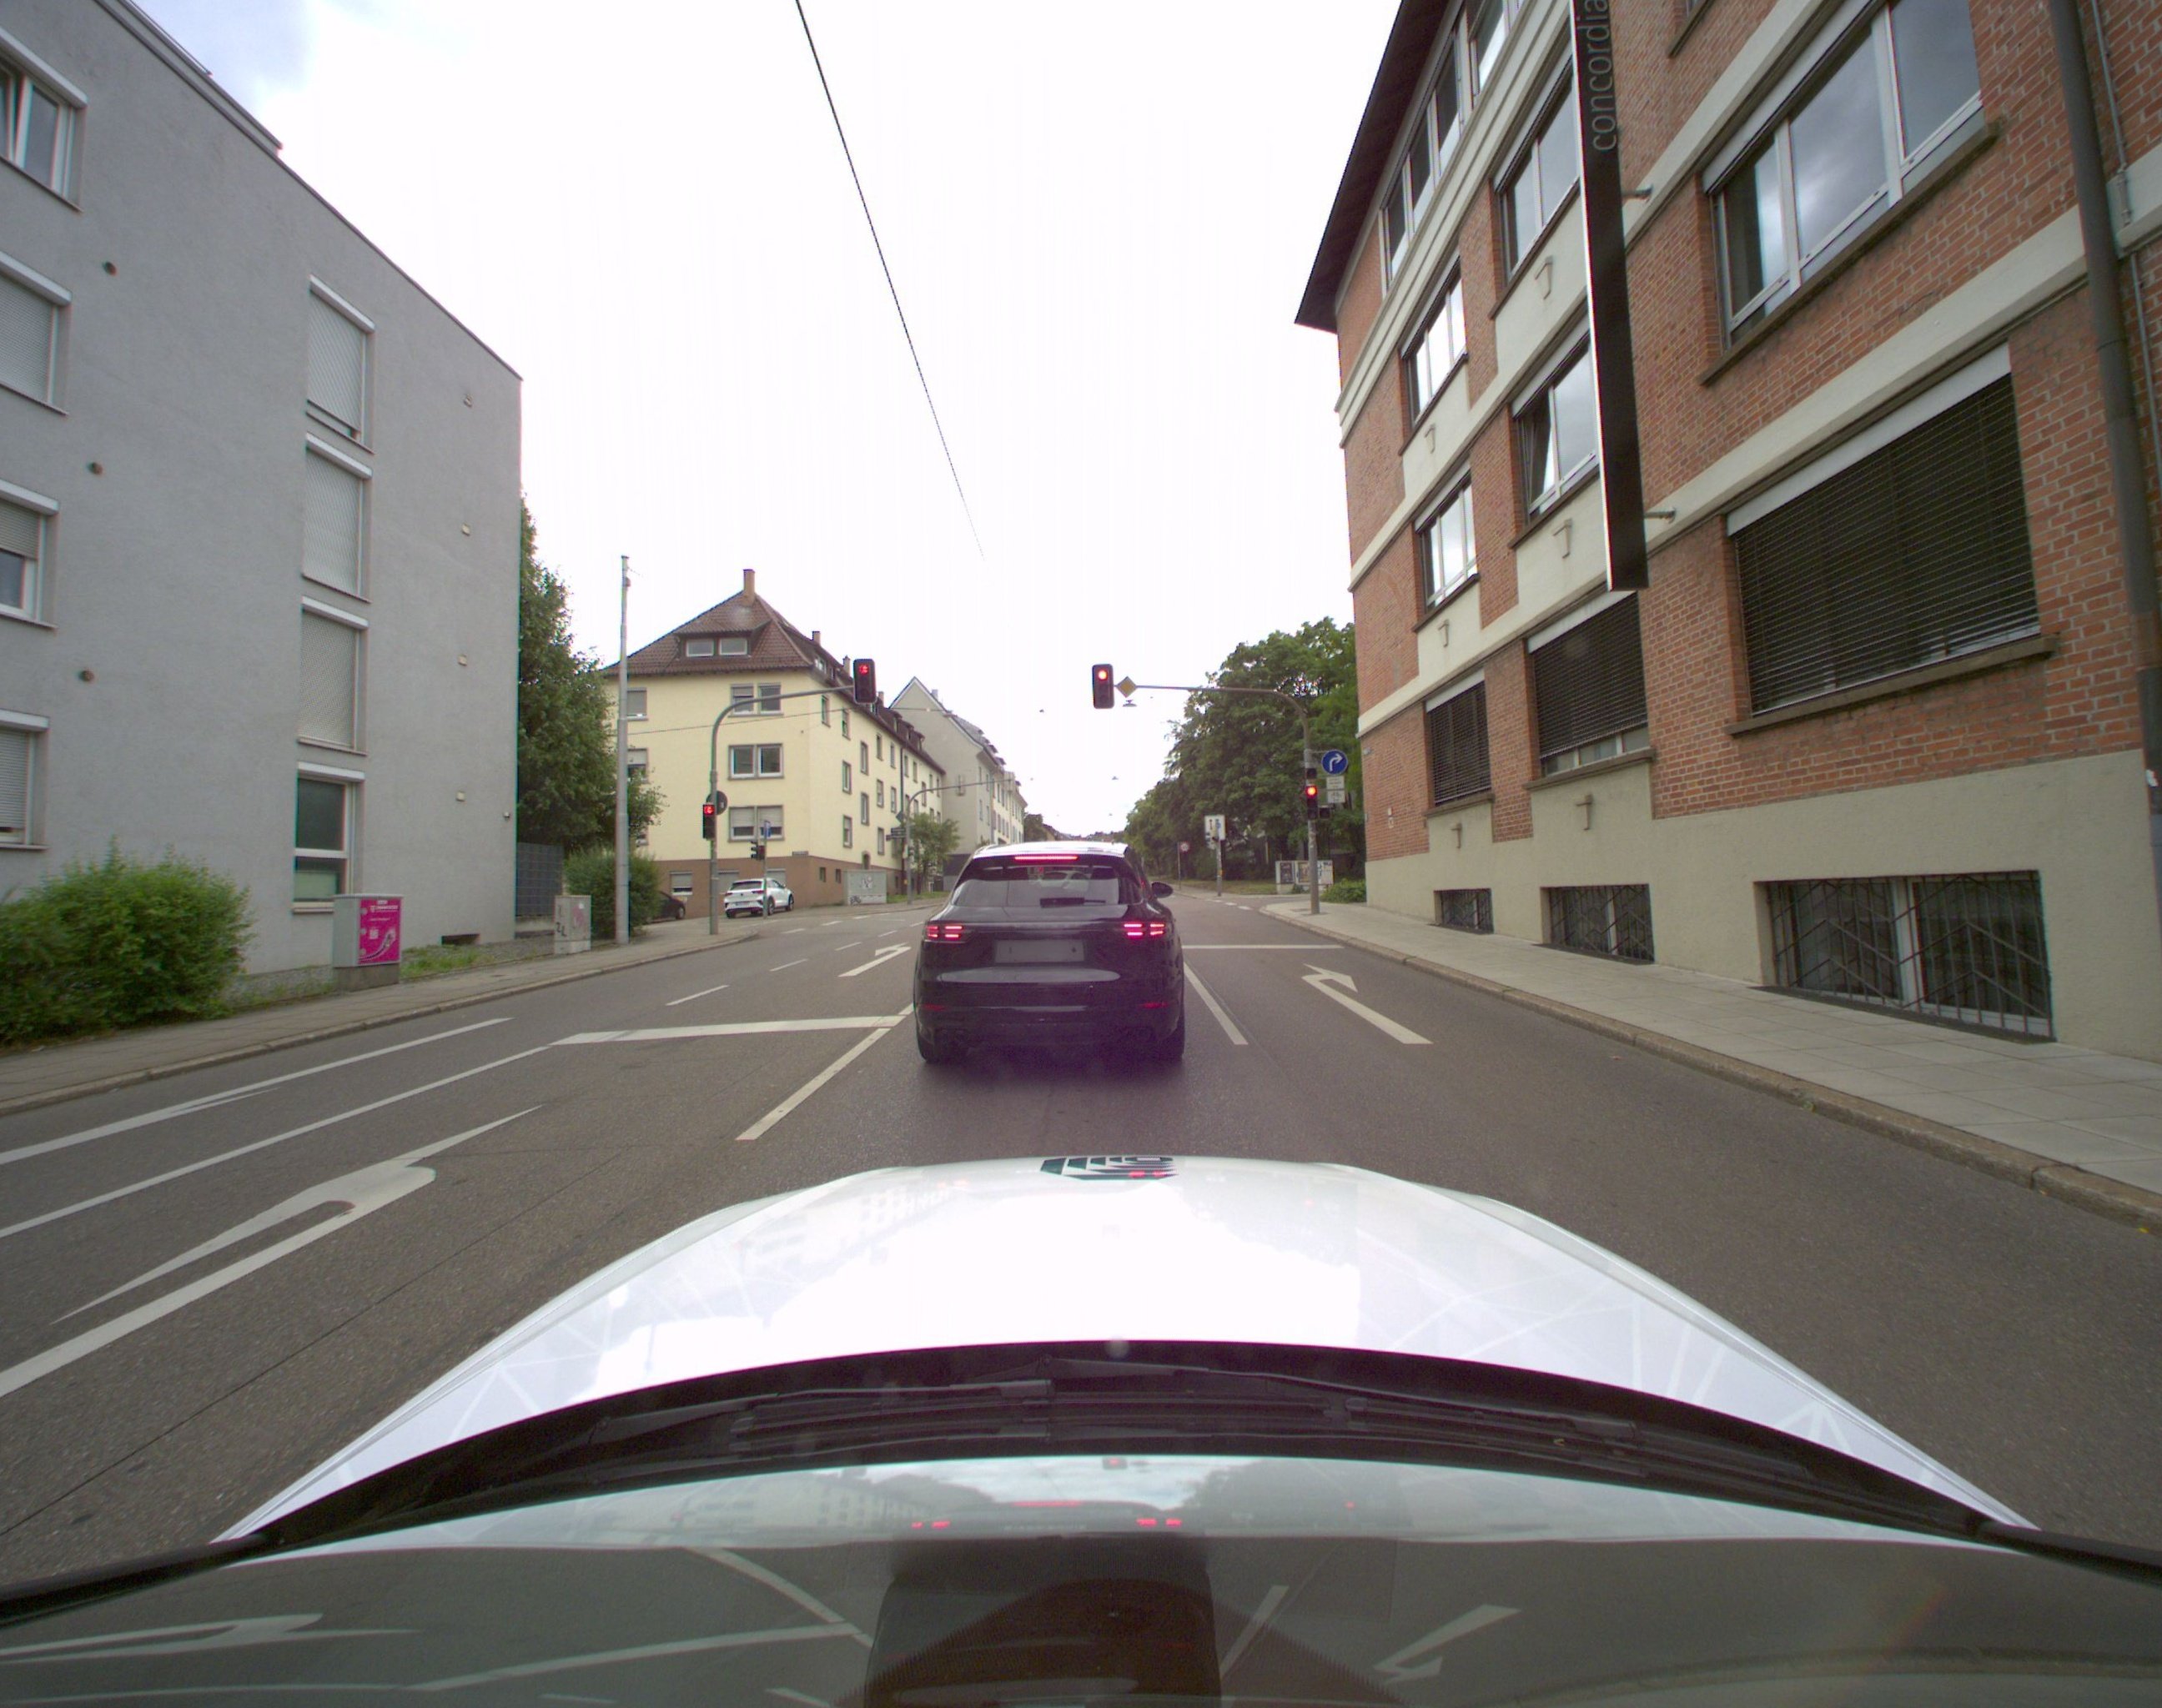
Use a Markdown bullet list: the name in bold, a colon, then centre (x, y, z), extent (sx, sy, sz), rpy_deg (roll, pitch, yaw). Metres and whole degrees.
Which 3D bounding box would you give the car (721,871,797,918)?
- **car**: centre (-13.478, 1.646, 34.328), extent (1.666, 1.662, 3.996), rpy_deg (-4, 0, -3)

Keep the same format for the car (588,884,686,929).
- **car**: centre (-18.579, 2.149, 34.297), extent (1.664, 1.546, 4.103), rpy_deg (-5, -1, 2)

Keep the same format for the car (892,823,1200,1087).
- **car**: centre (-0.168, 0.669, 7.281), extent (1.986, 1.697, 4.001), rpy_deg (0, -1, 2)

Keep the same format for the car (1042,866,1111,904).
- **car**: centre (-0.140, 1.340, 36.261), extent (1.674, 1.552, 3.909), rpy_deg (-1, -1, 22)

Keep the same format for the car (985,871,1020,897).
- **car**: centre (-5.177, 1.980, 54.142), extent (1.657, 1.519, 3.742), rpy_deg (-5, -1, 2)

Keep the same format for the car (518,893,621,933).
- **car**: centre (-21.239, 2.412, 33.996), extent (1.663, 1.362, 4.001), rpy_deg (-1, -1, 2)
